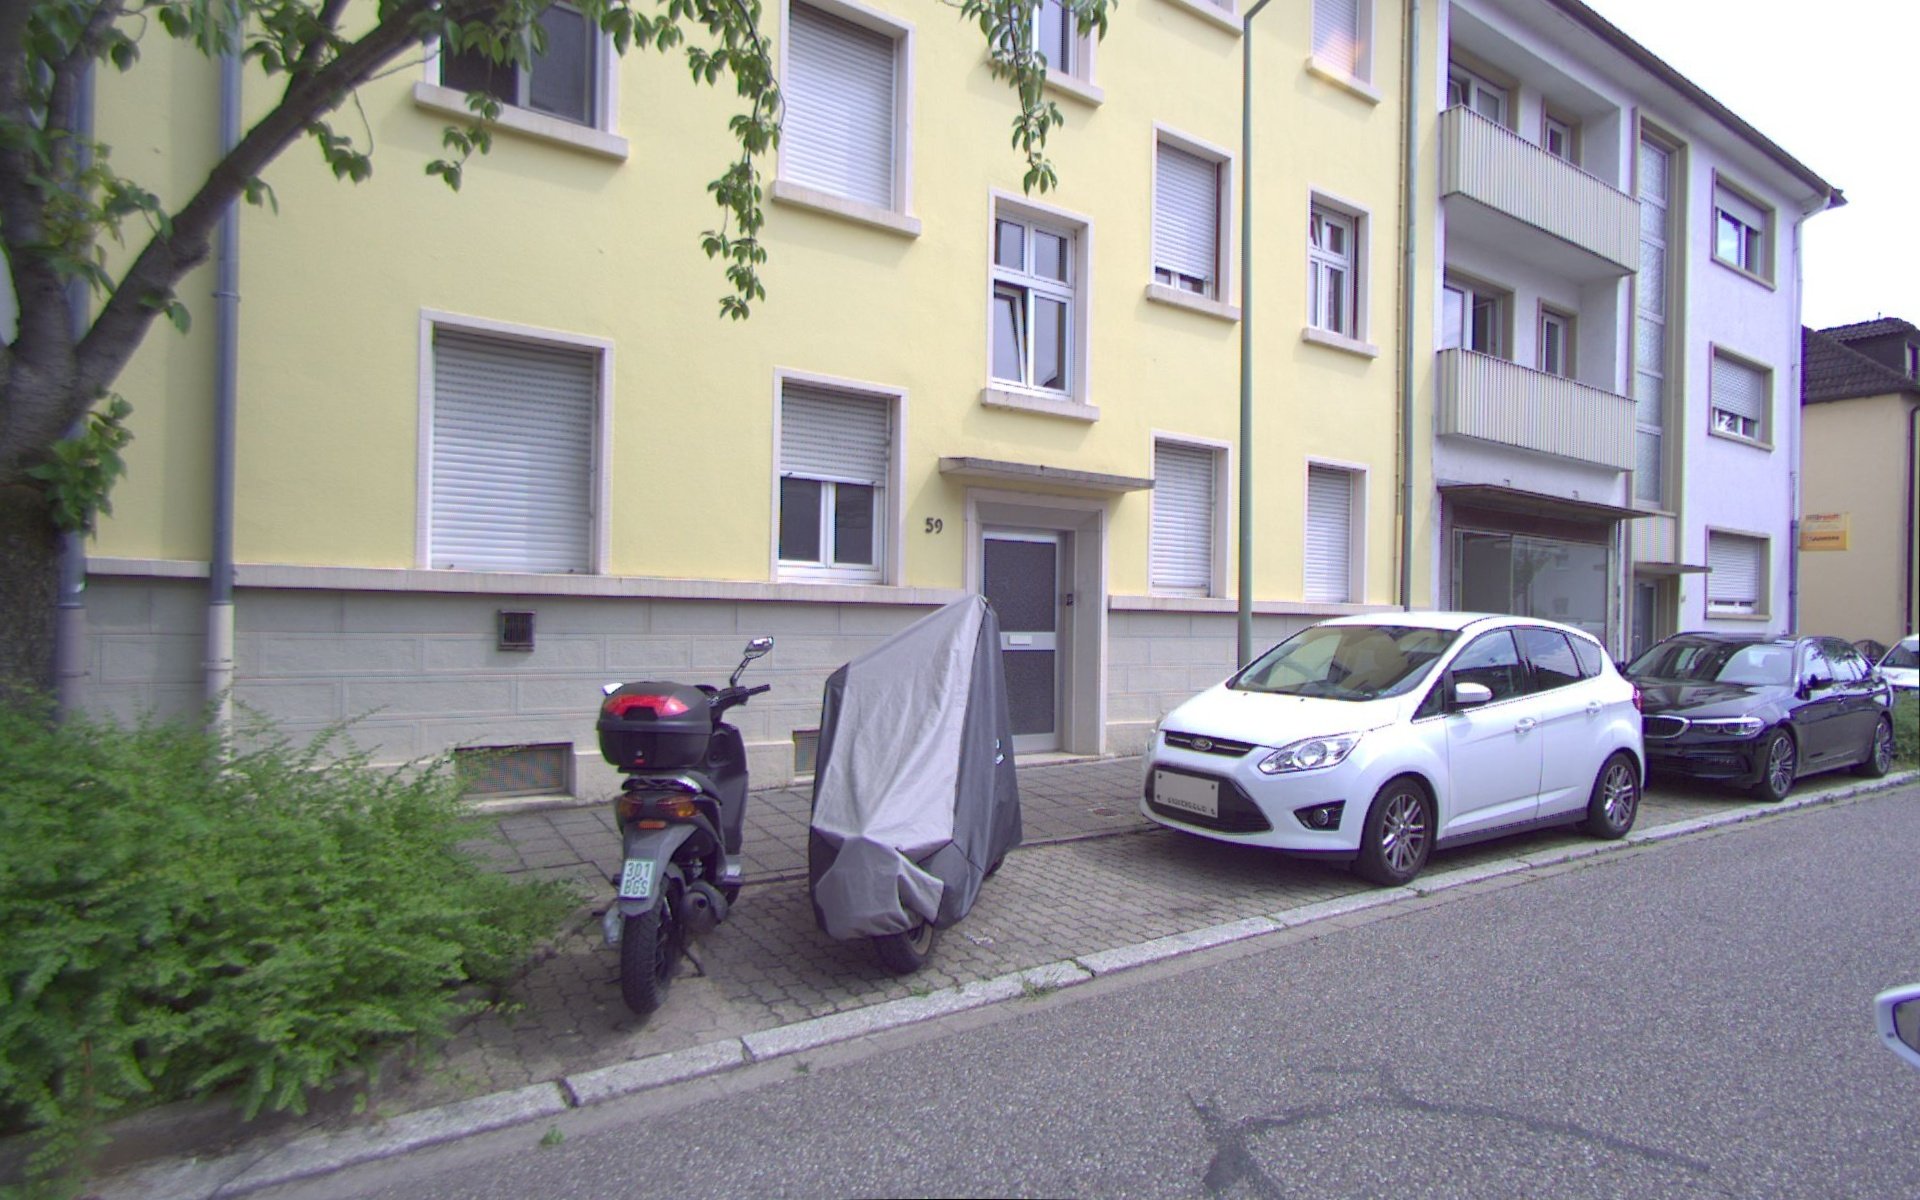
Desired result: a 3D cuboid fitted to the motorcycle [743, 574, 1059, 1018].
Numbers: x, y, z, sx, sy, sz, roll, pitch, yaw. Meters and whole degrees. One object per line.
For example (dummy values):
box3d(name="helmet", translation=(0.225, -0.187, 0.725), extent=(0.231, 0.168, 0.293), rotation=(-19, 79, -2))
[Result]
box3d(name="motorcycle", translation=(-0.132, 0.772, 5.164), extent=(0.920, 1.698, 2.475), rotation=(1, -1, 14))

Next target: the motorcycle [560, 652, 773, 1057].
box3d(name="motorcycle", translation=(-1.214, 0.911, 4.617), extent=(0.632, 1.328, 2.453), rotation=(0, -3, -9))

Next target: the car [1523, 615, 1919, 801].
box3d(name="car", translation=(8.000, 0.996, 10.411), extent=(4.761, 1.512, 1.780), rotation=(2, -1, -33))

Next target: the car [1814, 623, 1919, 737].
box3d(name="car", translation=(15.160, 1.192, 15.451), extent=(4.335, 1.602, 1.908), rotation=(2, -3, -33))

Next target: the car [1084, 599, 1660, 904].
box3d(name="car", translation=(3.055, 0.857, 7.126), extent=(4.211, 1.577, 1.747), rotation=(2, -2, -34))
